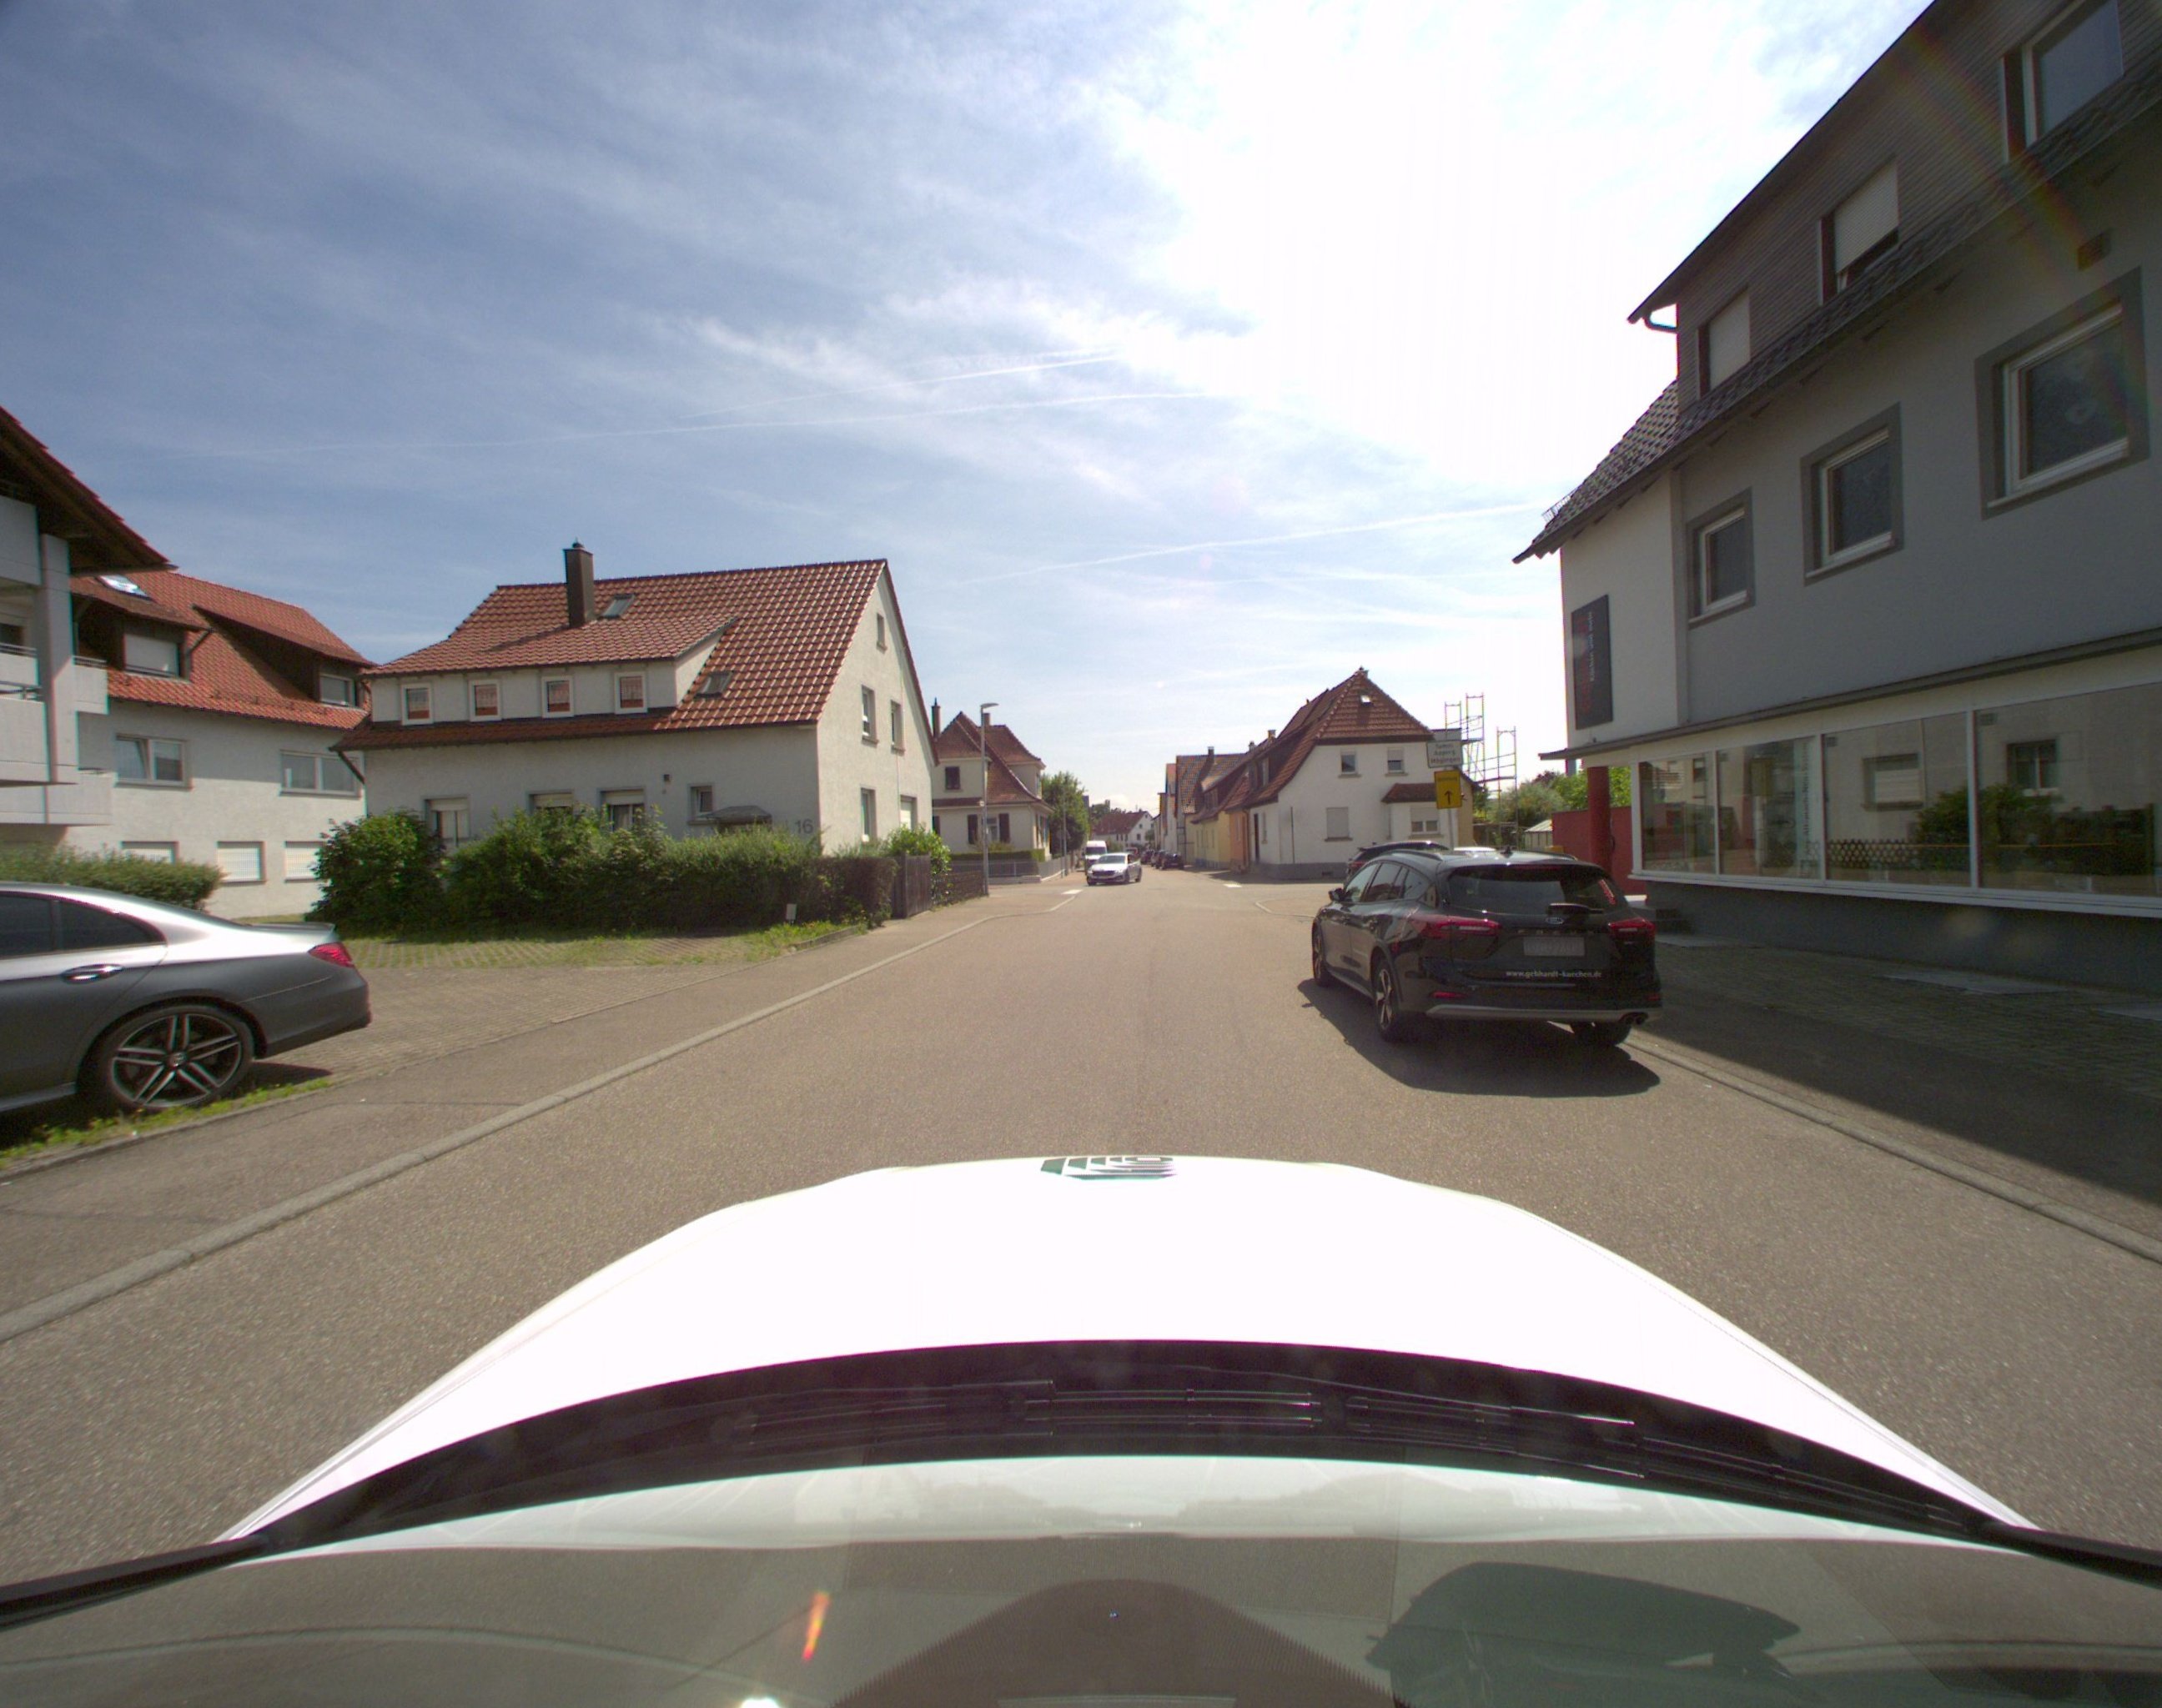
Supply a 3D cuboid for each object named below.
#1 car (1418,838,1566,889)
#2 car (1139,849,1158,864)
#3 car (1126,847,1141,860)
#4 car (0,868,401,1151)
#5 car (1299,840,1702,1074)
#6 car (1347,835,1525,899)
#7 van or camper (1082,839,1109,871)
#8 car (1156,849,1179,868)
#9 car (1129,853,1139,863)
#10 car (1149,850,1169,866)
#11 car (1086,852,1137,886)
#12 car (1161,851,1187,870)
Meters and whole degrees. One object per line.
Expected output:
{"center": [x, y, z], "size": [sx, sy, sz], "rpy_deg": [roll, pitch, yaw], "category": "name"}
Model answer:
{"center": [13.319, 0.305, 26.589], "size": [3.965, 1.504, 1.698], "rpy_deg": [-1, 0, 7], "category": "car"}
{"center": [8.021, 0.321, 97.407], "size": [1.869, 1.700, 4.182], "rpy_deg": [-1, 0, 0], "category": "car"}
{"center": [9.235, -0.026, 142.595], "size": [2.117, 2.158, 4.747], "rpy_deg": [-2, 0, 8], "category": "car"}
{"center": [-6.691, 0.868, 4.163], "size": [1.811, 1.432, 4.587], "rpy_deg": [-2, 0, 21], "category": "car"}
{"center": [3.341, 0.674, 7.575], "size": [1.754, 1.527, 4.411], "rpy_deg": [-1, 0, 4], "category": "car"}
{"center": [9.909, 0.364, 23.043], "size": [4.267, 1.653, 1.853], "rpy_deg": [-1, 0, 10], "category": "car"}
{"center": [1.313, 0.098, 70.215], "size": [2.176, 2.571, 6.810], "rpy_deg": [-1, 0, 2], "category": "van or camper"}
{"center": [7.409, 0.356, 70.317], "size": [1.721, 1.600, 4.256], "rpy_deg": [-1, 0, 3], "category": "car"}
{"center": [8.379, 0.612, 128.638], "size": [1.508, 1.567, 3.189], "rpy_deg": [-1, 0, 5], "category": "car"}
{"center": [7.843, 0.417, 82.255], "size": [1.668, 1.559, 3.040], "rpy_deg": [-1, 0, 0], "category": "car"}
{"center": [1.506, 0.651, 38.274], "size": [1.742, 1.438, 4.601], "rpy_deg": [-2, 0, 10], "category": "car"}
{"center": [7.345, 0.525, 64.535], "size": [1.605, 1.431, 3.753], "rpy_deg": [-1, 0, 0], "category": "car"}
